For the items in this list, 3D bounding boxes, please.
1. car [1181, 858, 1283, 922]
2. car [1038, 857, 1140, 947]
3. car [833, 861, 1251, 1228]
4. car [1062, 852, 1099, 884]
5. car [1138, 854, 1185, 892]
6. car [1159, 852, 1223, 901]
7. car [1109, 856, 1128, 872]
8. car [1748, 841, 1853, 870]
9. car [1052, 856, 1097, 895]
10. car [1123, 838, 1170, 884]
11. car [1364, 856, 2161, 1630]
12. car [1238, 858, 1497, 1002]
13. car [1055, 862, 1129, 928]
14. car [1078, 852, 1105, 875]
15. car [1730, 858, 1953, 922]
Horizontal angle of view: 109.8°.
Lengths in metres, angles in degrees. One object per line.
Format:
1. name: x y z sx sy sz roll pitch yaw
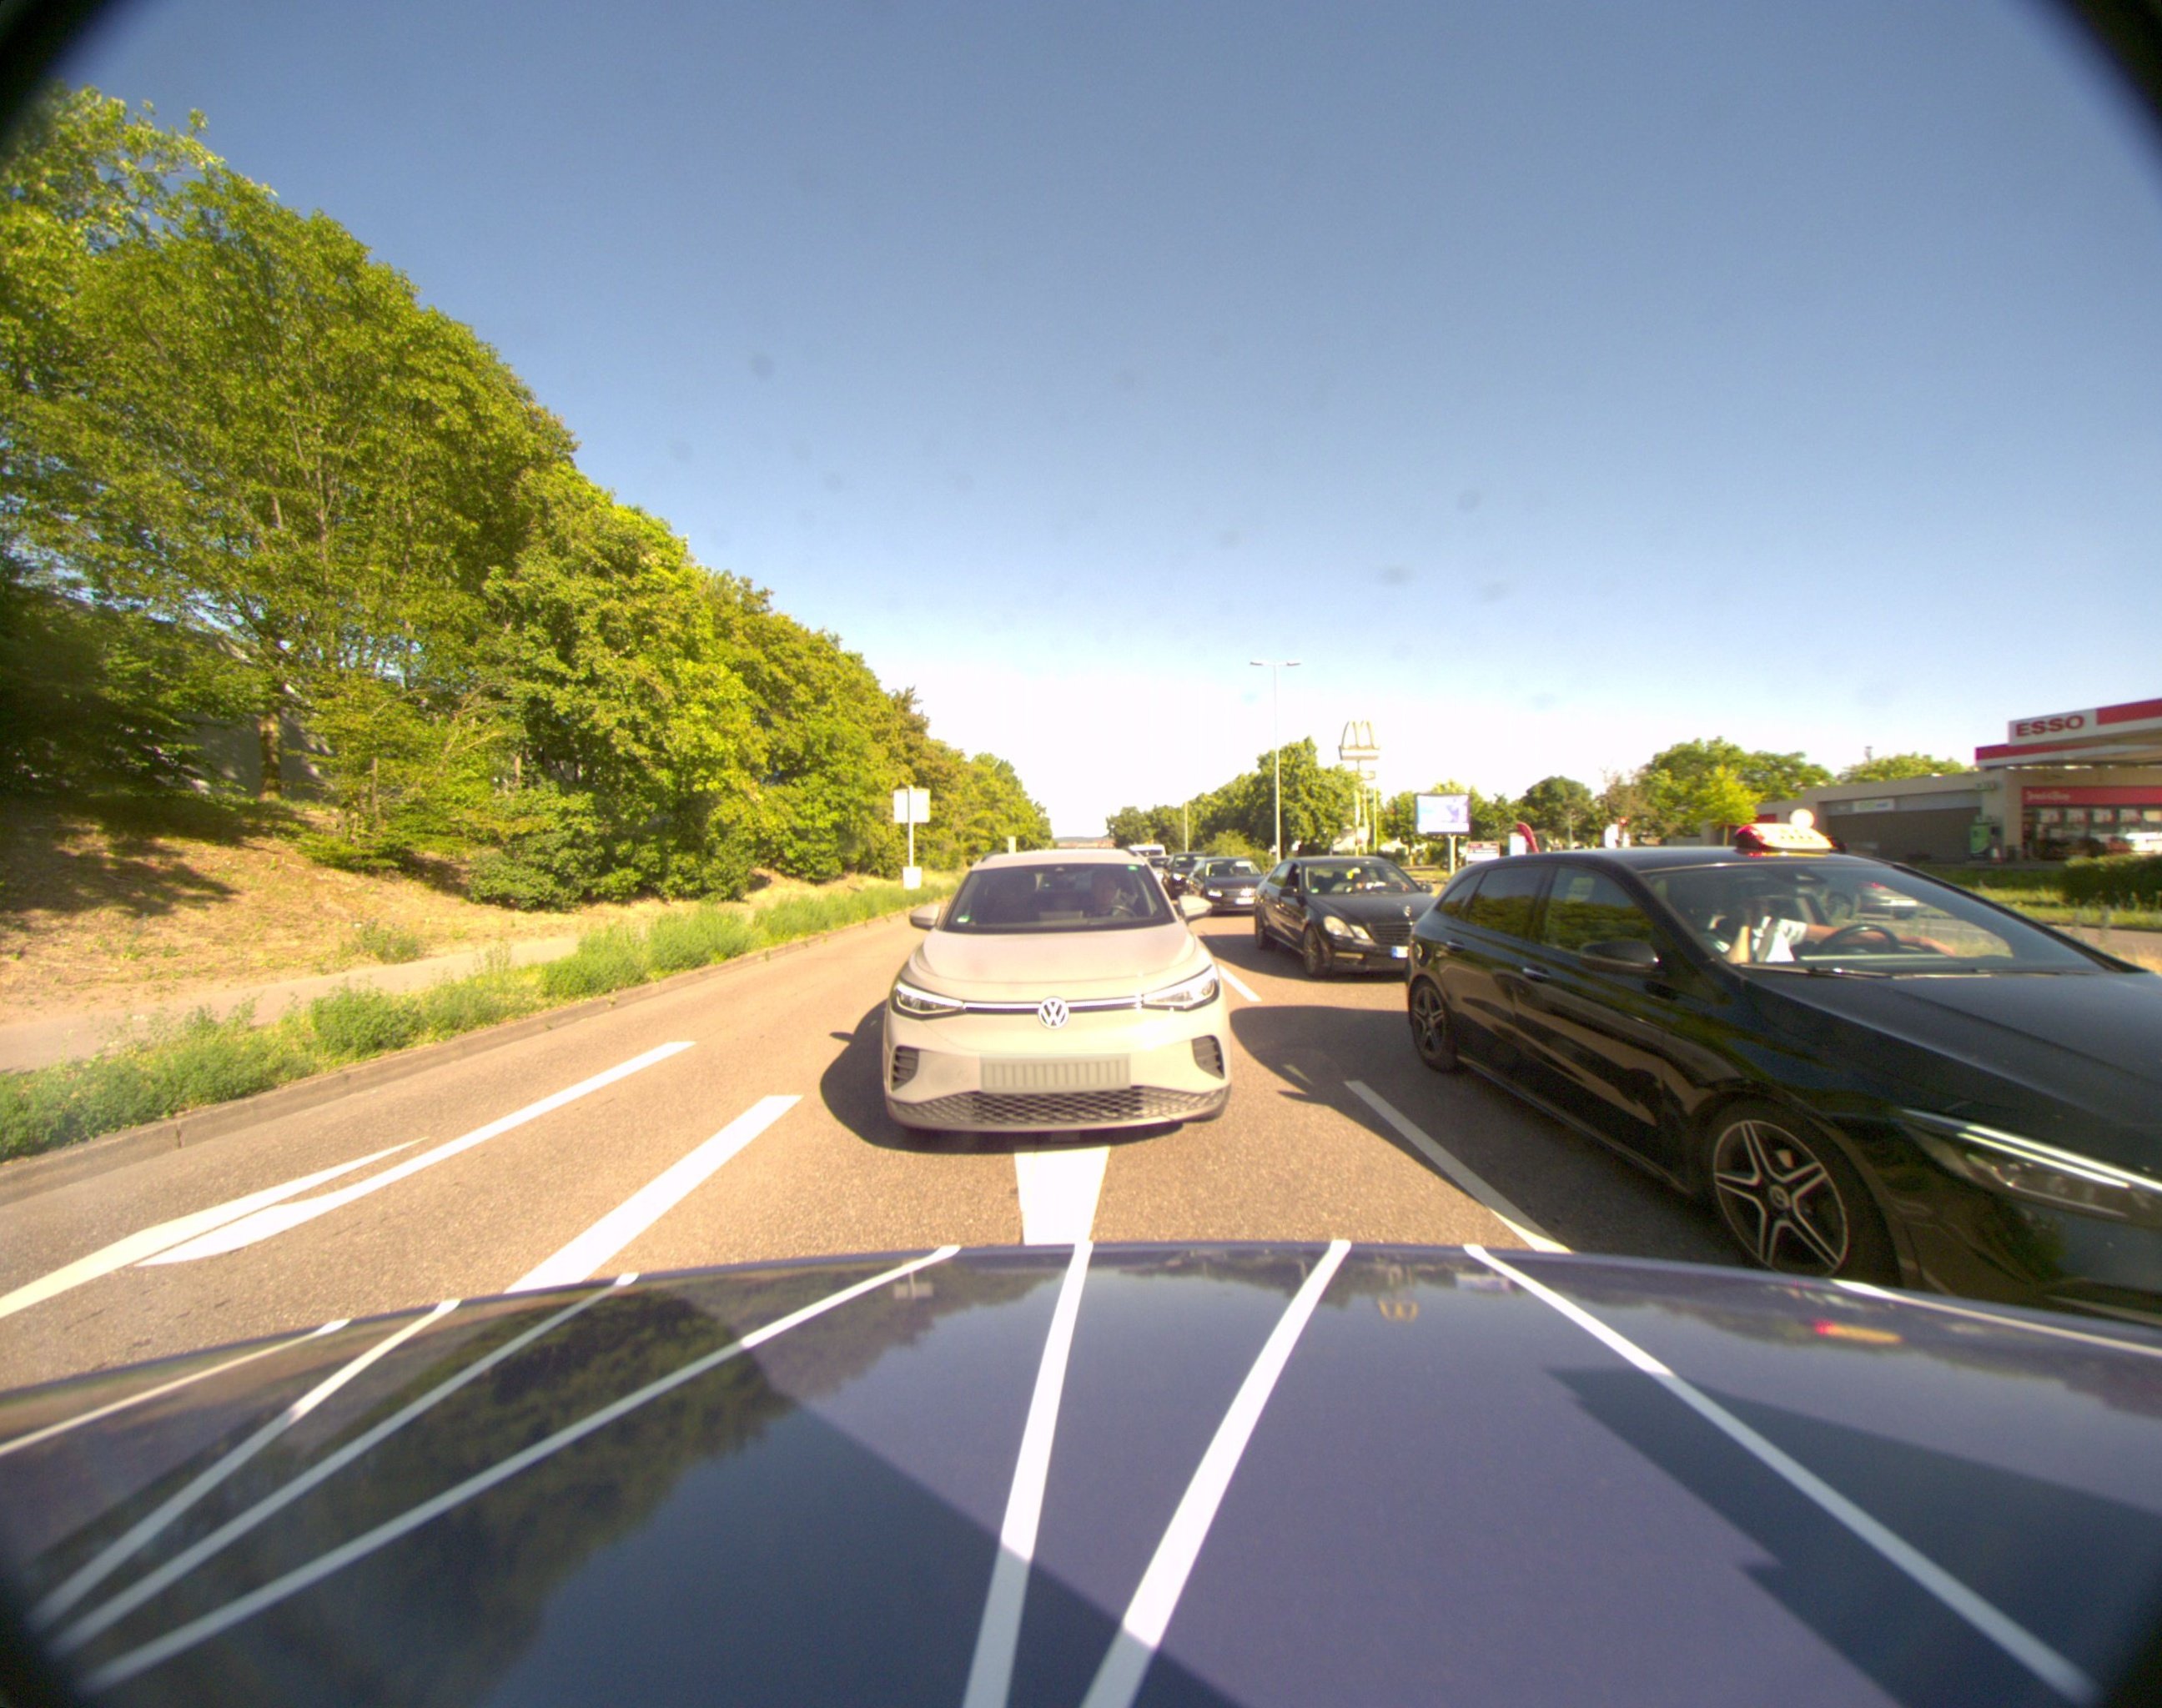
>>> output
1. car: 3.871 0.857 20.211 1.797 1.419 4.287 -2 0 0
2. car: 0.134 0.869 15.754 1.763 1.482 4.402 -2 1 0
3. car: -0.182 0.896 5.697 1.862 1.573 4.403 -2 0 0
4. car: -0.045 0.709 39.849 1.763 1.482 4.402 -2 1 0
5. car: 3.571 0.787 34.160 1.635 1.547 3.777 -2 0 0
6. car: 3.903 0.753 27.499 1.674 1.607 3.879 -2 0 0
7. car: 4.167 1.063 84.676 1.763 1.607 4.402 -2 1 0
8. car: 37.413 0.078 39.645 1.682 1.401 3.978 1 1 0
9. car: -0.259 0.878 33.028 1.763 1.482 4.402 -2 1 0
10. car: 3.694 0.376 43.889 2.019 2.349 6.523 -2 0 0
11. car: 3.090 0.815 3.648 1.763 1.482 4.402 -2 1 0
12. car: 3.588 0.848 10.494 1.868 1.430 4.402 -2 1 0
13. car: 0.264 1.036 20.922 1.763 1.482 4.402 -2 1 0
14. car: 0.690 0.618 52.803 1.763 1.482 4.402 -2 1 0
15. car: 19.476 0.858 19.761 1.763 1.401 3.978 1 1 0
